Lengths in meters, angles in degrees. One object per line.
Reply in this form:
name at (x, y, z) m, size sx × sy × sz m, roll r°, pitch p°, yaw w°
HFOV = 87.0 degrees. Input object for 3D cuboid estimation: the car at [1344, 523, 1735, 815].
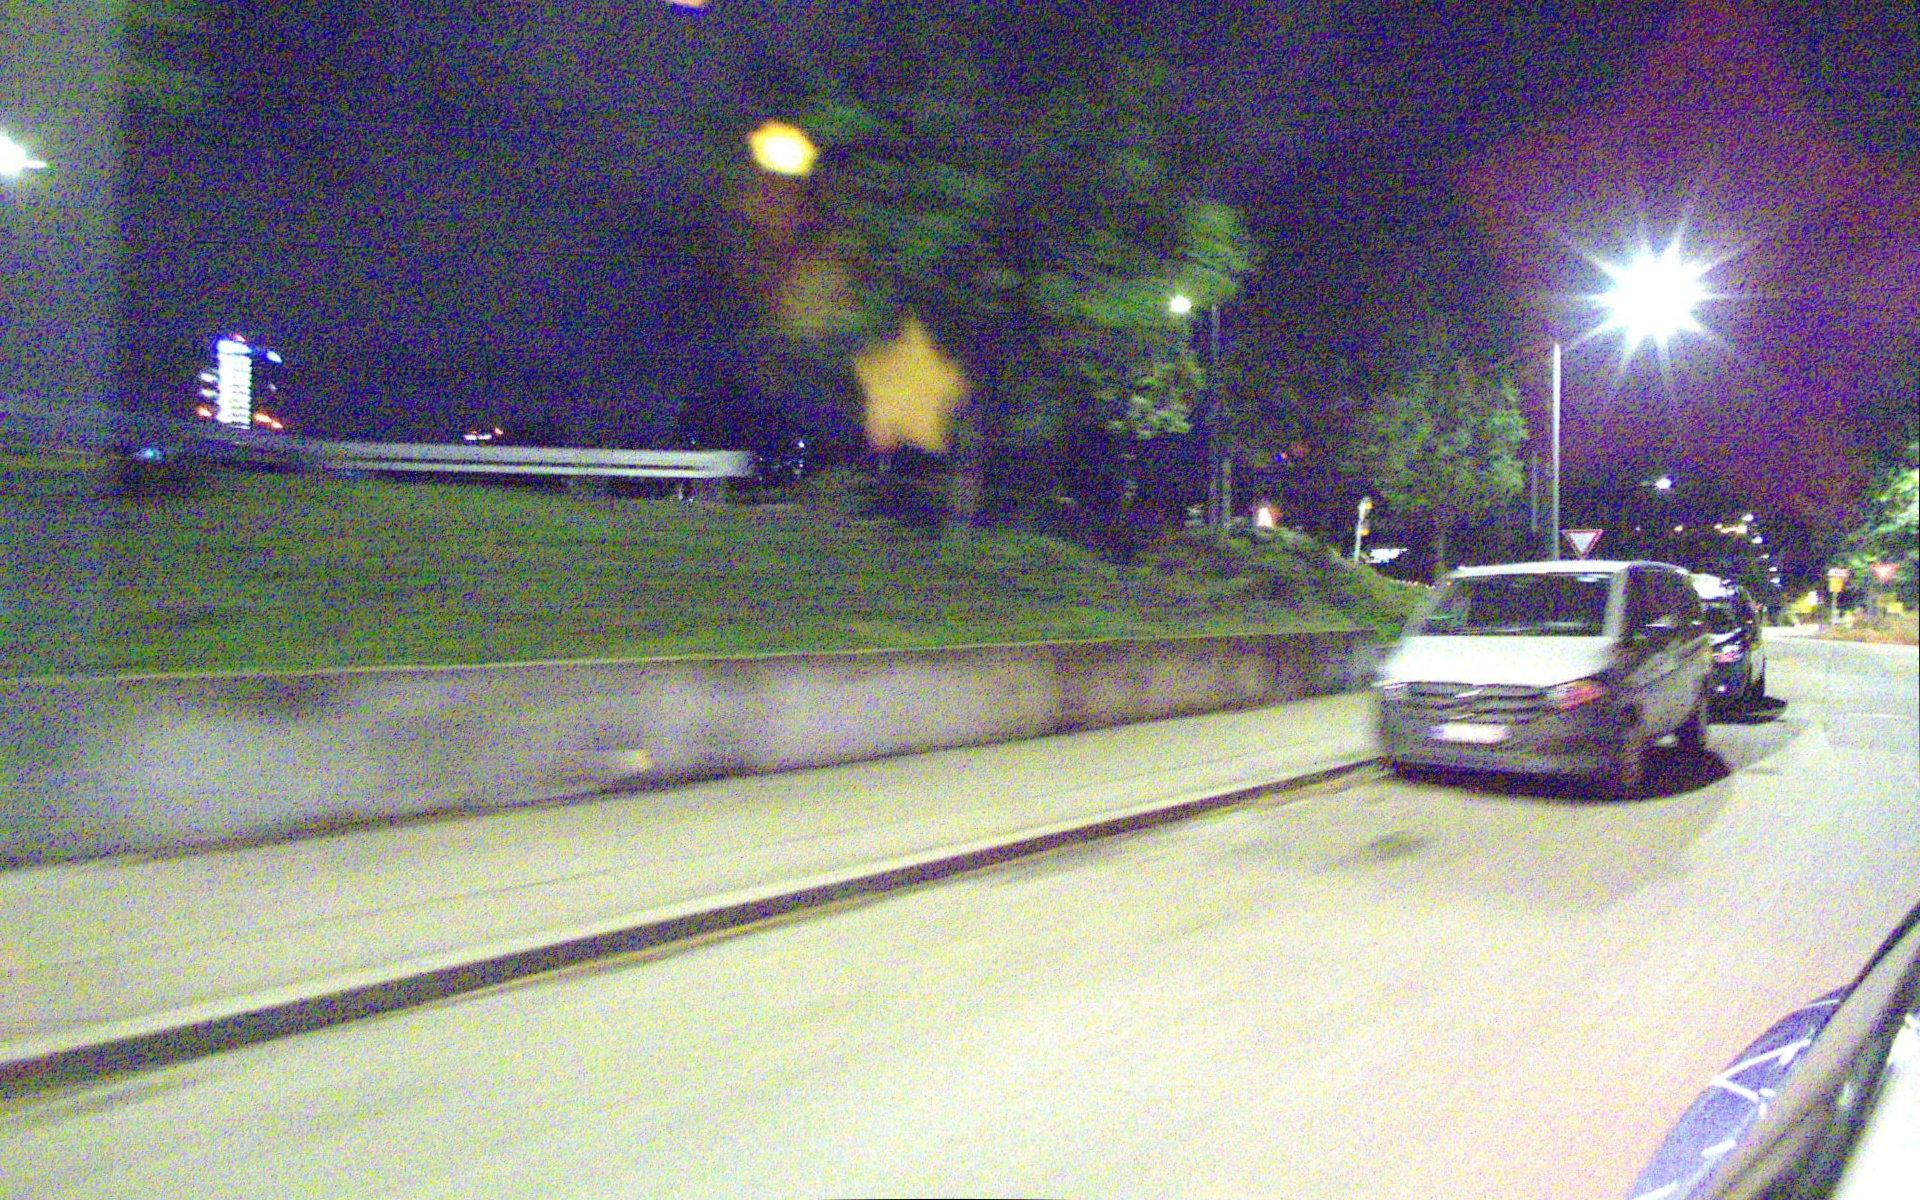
car at (5.770, 0.495, 9.684) m, size 1.994 × 2.039 × 5.269 m, roll -1°, pitch -1°, yaw 44°

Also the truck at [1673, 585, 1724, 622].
truck at (54.802, 0.242, 75.083) m, size 2.399 × 2.602 × 6.308 m, roll 2°, pitch 1°, yaw 42°

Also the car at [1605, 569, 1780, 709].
car at (11.127, 0.484, 15.247) m, size 1.728 × 1.802 × 4.251 m, roll 0°, pitch 0°, yaw 42°

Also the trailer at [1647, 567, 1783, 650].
trailer at (20.347, 0.169, 27.501) m, size 1.476 × 2.039 × 4.954 m, roll 1°, pitch 1°, yaw 19°

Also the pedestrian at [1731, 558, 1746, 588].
pedestrian at (128.331, -4.439, 166.911) m, size 1.738 × 4.766 × 2.267 m, roll 1°, pitch 0°, yaw 42°

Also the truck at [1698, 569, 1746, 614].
truck at (66.558, -0.728, 88.338) m, size 3.043 × 3.668 × 9.465 m, roll 1°, pitch 1°, yaw 39°
